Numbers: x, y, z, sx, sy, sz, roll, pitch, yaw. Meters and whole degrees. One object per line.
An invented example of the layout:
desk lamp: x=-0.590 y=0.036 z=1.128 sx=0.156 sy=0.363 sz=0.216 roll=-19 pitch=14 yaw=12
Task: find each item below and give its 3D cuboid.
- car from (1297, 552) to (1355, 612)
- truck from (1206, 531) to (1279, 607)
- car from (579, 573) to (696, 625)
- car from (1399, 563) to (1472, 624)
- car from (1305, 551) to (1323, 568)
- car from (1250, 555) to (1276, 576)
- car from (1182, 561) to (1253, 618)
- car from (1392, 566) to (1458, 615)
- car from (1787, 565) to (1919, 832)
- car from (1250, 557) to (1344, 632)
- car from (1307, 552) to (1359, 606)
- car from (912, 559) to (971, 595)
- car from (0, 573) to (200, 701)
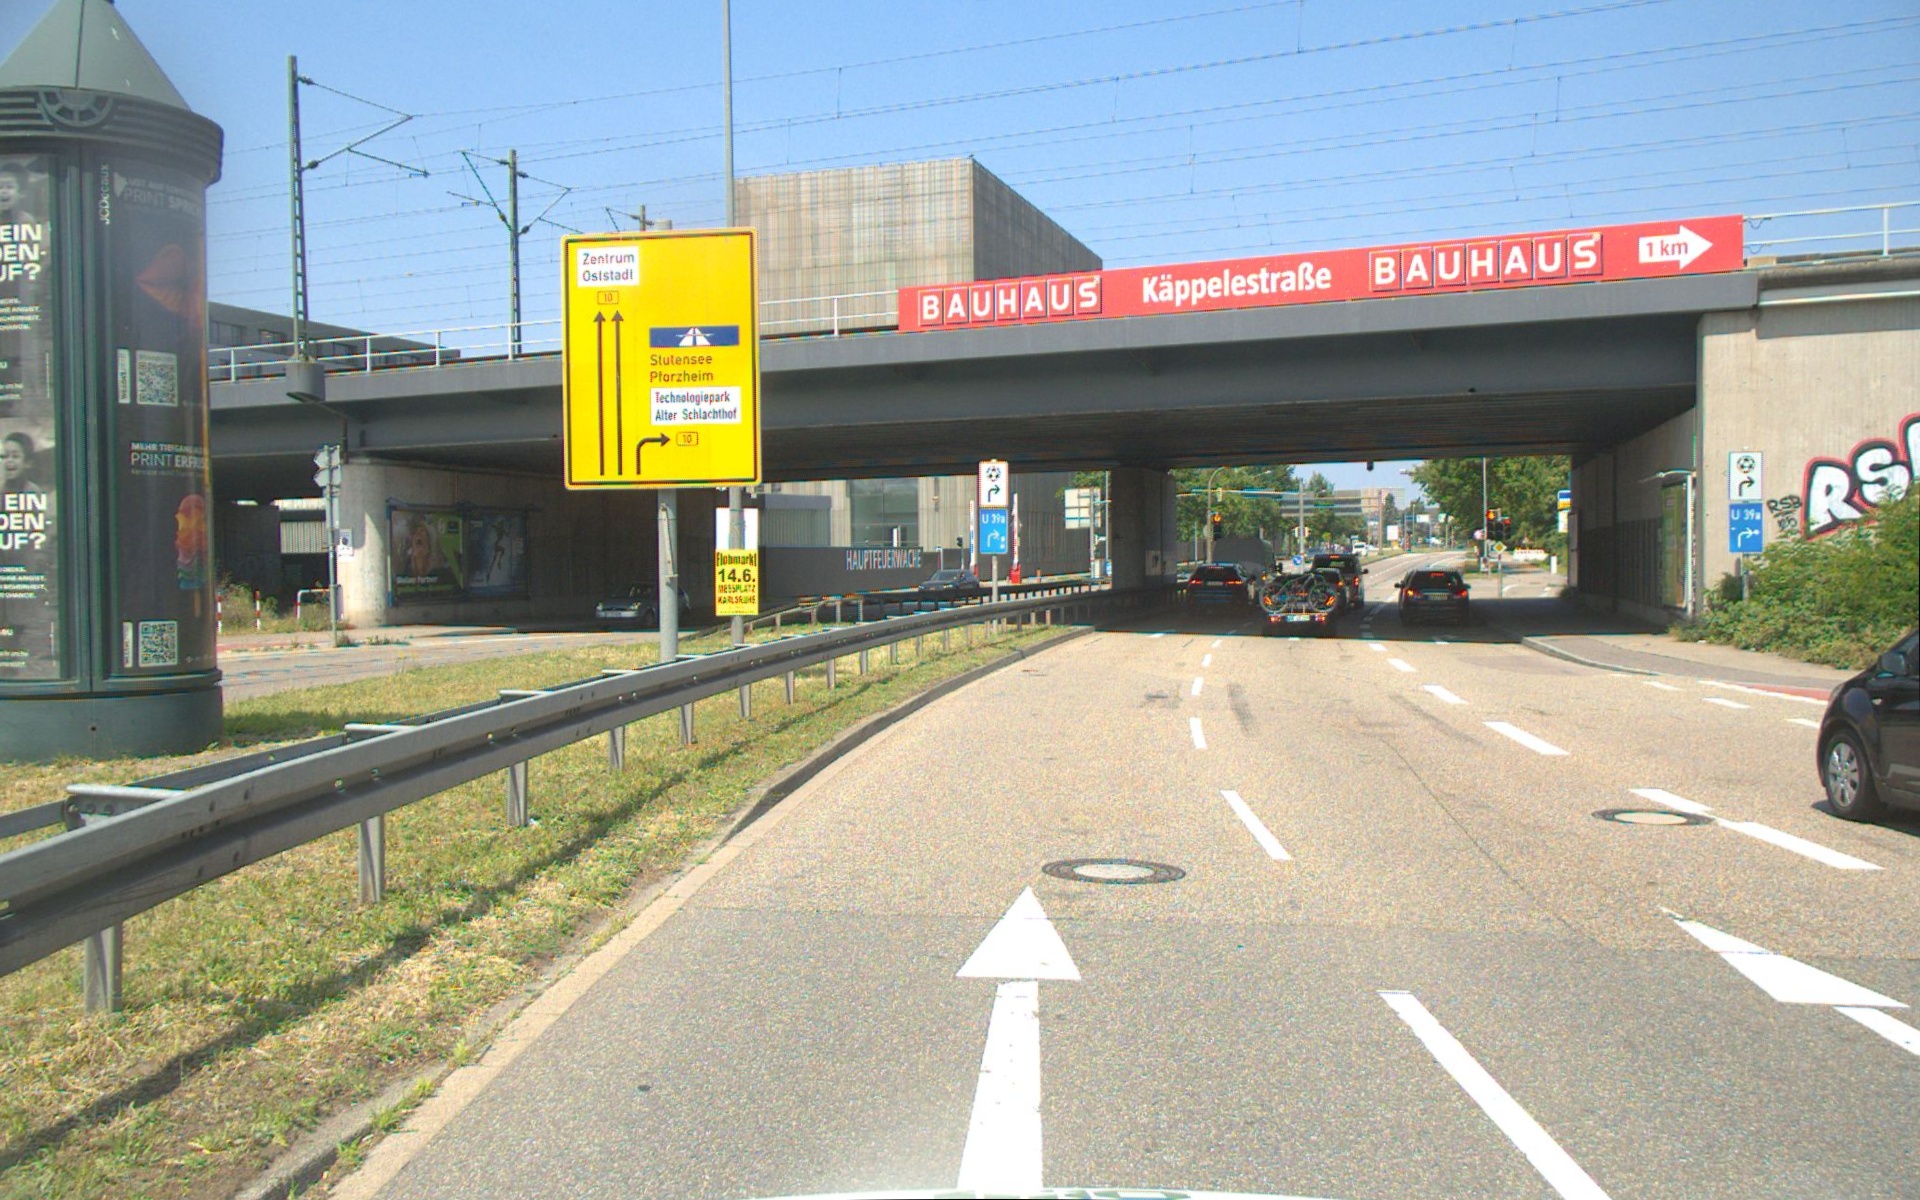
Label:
car: x=12.195 y=-0.598 z=54.962 sx=1.801 sy=1.923 sz=4.003 roll=0 pitch=0 yaw=14
truck: x=10.250 y=-1.104 z=59.839 sx=2.024 sy=2.582 sz=4.002 roll=-2 pitch=0 yaw=18
car: x=-9.810 y=-0.020 z=50.605 sx=1.951 sy=1.466 sz=4.003 roll=-2 pitch=-1 yaw=14
car: x=13.176 y=-0.188 z=45.996 sx=1.801 sy=1.596 sz=4.003 roll=0 pitch=0 yaw=14
car: x=37.119 y=-4.241 z=173.327 sx=1.814 sy=1.651 sz=4.003 roll=0 pitch=0 yaw=13
car: x=24.168 y=-2.718 z=131.689 sx=1.814 sy=1.651 sz=4.003 roll=0 pitch=0 yaw=13
car: x=8.240 y=-0.337 z=52.654 sx=1.899 sy=1.751 sz=4.003 roll=0 pitch=0 yaw=14
car: x=14.727 y=-0.302 z=52.555 sx=1.864 sy=1.514 sz=4.003 roll=0 pitch=0 yaw=13
car: x=6.716 y=0.606 z=9.738 sx=1.730 sy=1.627 sz=4.078 roll=0 pitch=1 yaw=1
car: x=7.973 y=-0.155 z=38.848 sx=1.915 sy=1.662 sz=4.283 roll=0 pitch=1 yaw=15
car: x=13.755 y=-0.755 z=60.896 sx=1.801 sy=1.923 sz=4.003 roll=0 pitch=0 yaw=14
car: x=-0.866 y=-1.095 z=79.053 sx=1.815 sy=1.651 sz=4.003 roll=0 pitch=0 yaw=15
car: x=-11.191 y=0.388 z=20.217 sx=1.619 sy=1.403 sz=4.220 roll=0 pitch=0 yaw=4
